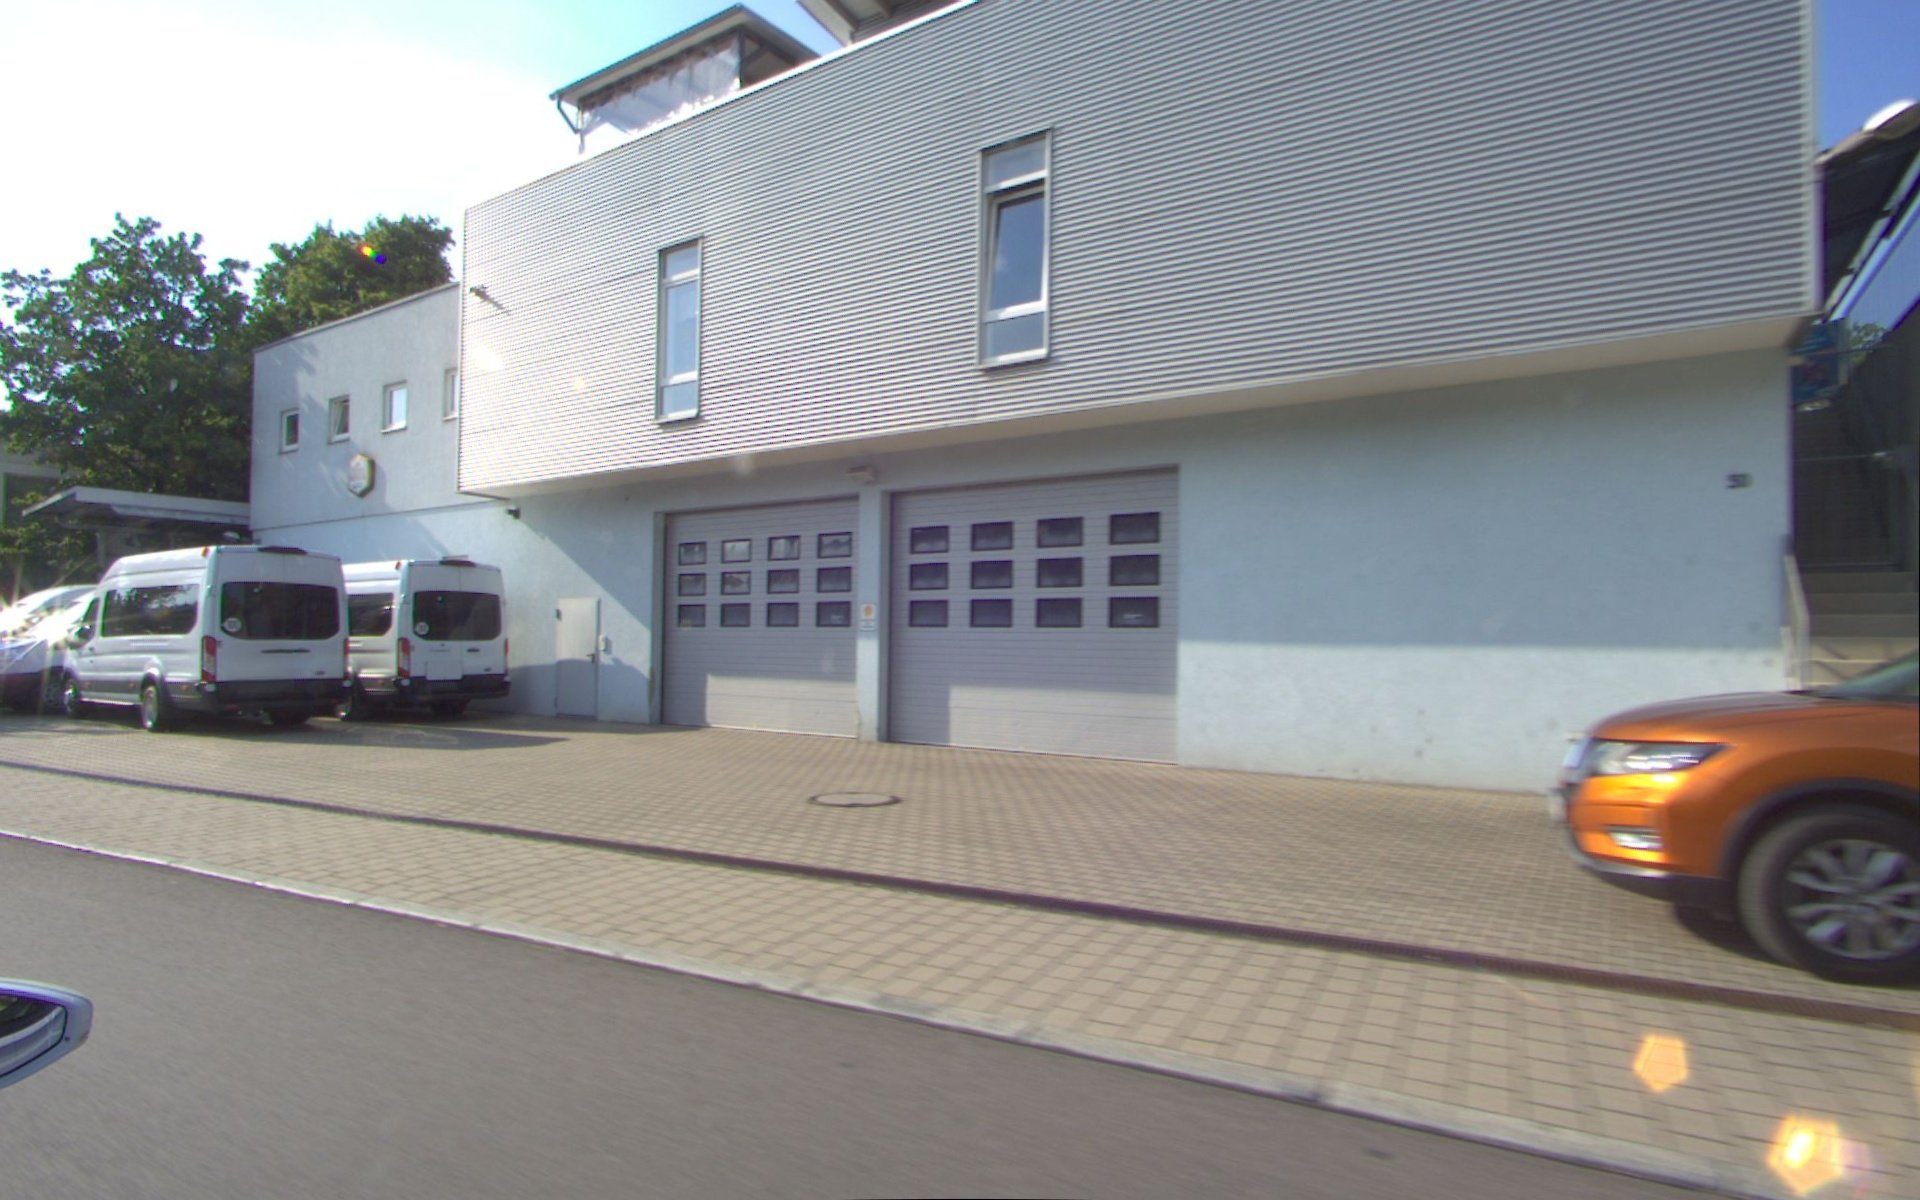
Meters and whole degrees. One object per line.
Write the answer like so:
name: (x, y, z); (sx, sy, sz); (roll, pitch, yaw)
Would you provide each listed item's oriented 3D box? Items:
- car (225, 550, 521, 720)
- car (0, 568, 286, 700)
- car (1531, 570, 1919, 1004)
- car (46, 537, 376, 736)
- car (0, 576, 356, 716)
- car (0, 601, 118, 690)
car: (-11.138, 0.615, 18.806); (6.350, 2.757, 2.108); (0, -1, 32)
car: (-18.333, 0.730, 21.574); (2.014, 2.548, 6.035); (0, -2, 31)
car: (5.046, 0.737, 4.213); (4.466, 1.670, 1.834); (-1, -2, 26)
car: (-12.371, 0.551, 16.359); (6.508, 2.715, 2.146); (0, -1, 32)
car: (-15.806, 0.884, 20.116); (2.014, 2.393, 6.036); (0, -2, 31)
car: (-21.296, 1.004, 22.291); (1.563, 1.918, 3.595); (0, -2, 30)
